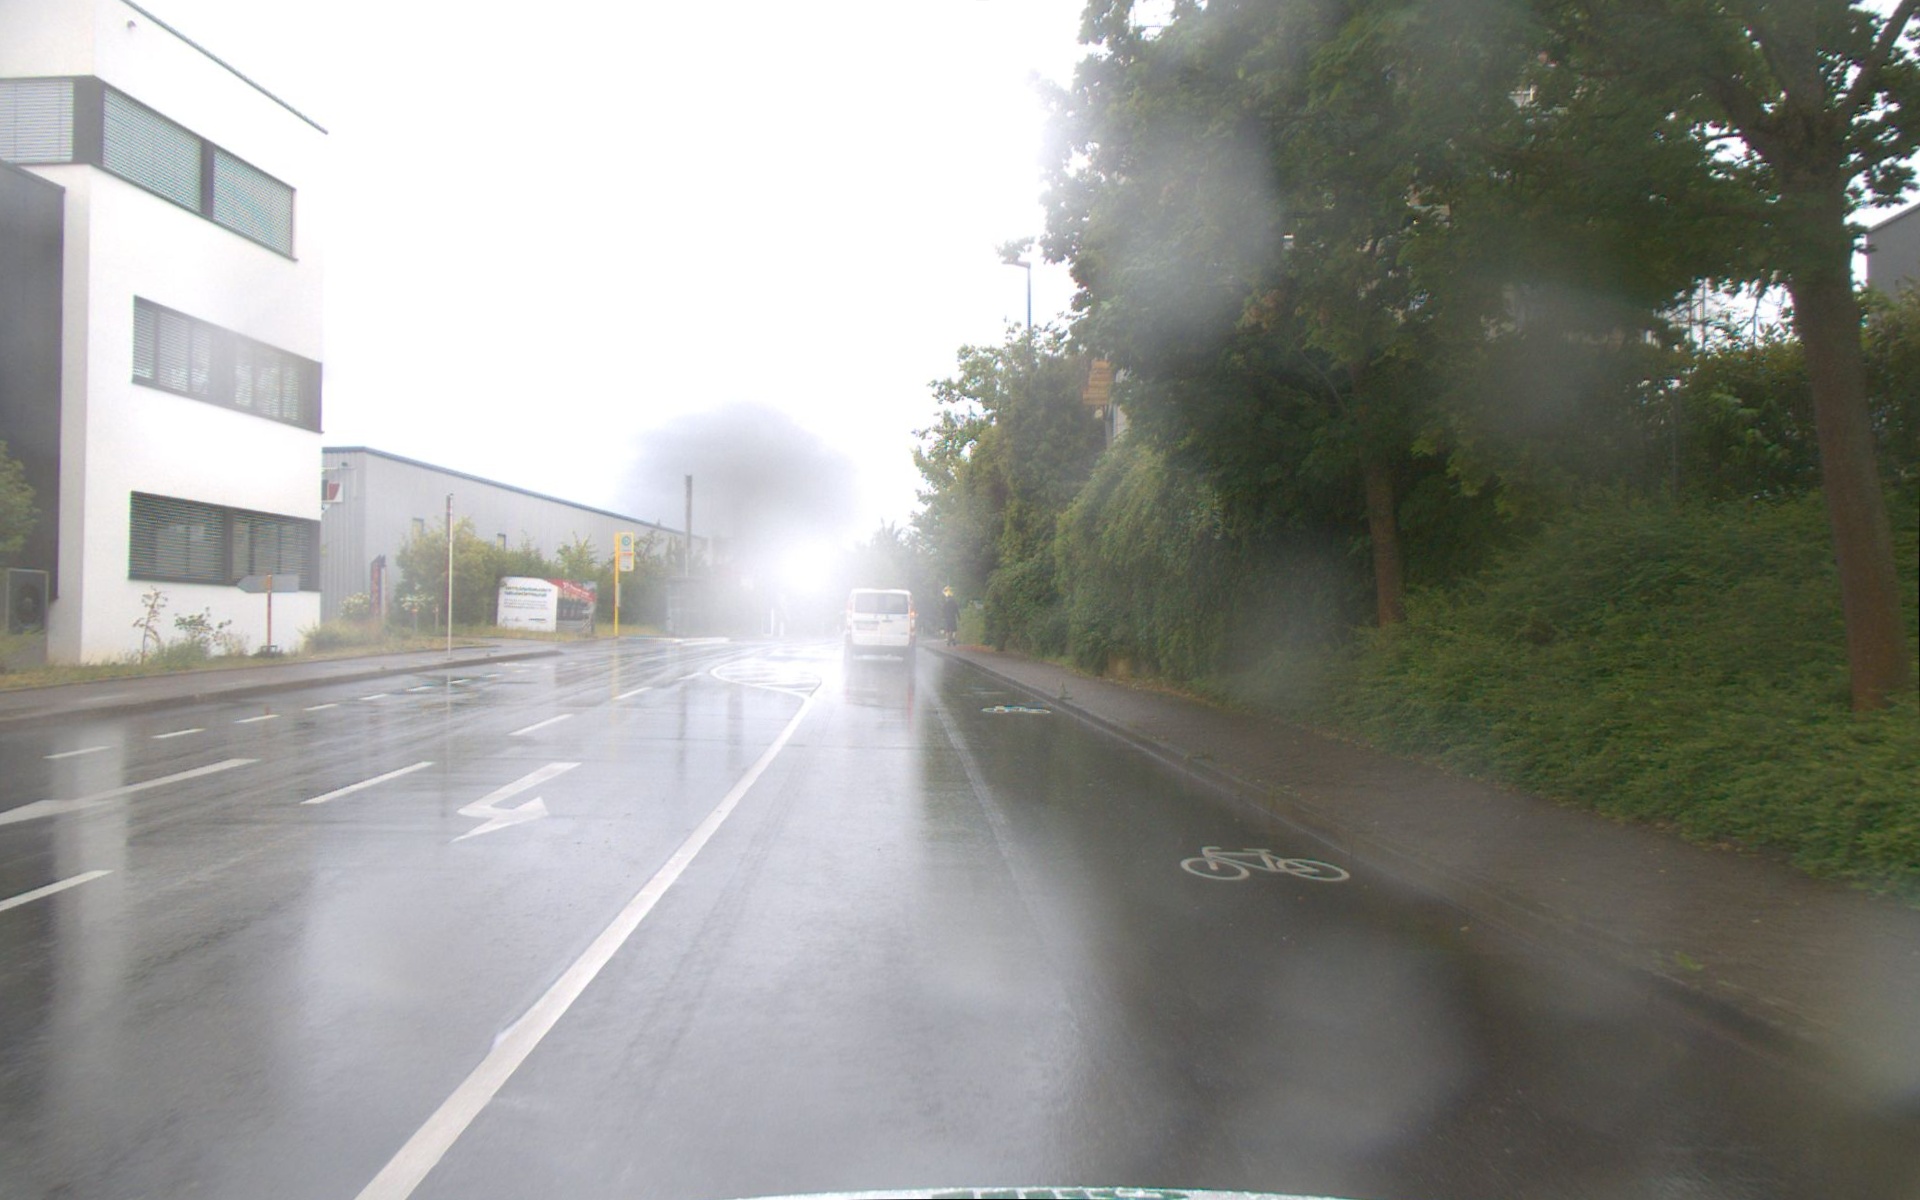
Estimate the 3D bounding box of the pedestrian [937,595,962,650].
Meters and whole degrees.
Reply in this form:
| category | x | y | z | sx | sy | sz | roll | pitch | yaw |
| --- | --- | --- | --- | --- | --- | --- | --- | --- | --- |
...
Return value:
| category | x | y | z | sx | sy | sz | roll | pitch | yaw |
| --- | --- | --- | --- | --- | --- | --- | --- | --- | --- |
| pedestrian | -0.377 | 0.831 | 60.125 | 0.761 | 1.940 | 0.728 | -3 | -2 | -4 |

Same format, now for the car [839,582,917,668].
| category | x | y | z | sx | sy | sz | roll | pitch | yaw |
| --- | --- | --- | --- | --- | --- | --- | --- | --- | --- |
| car | -2.152 | 0.640 | 43.814 | 1.861 | 2.053 | 5.369 | -2 | 0 | -3 |
